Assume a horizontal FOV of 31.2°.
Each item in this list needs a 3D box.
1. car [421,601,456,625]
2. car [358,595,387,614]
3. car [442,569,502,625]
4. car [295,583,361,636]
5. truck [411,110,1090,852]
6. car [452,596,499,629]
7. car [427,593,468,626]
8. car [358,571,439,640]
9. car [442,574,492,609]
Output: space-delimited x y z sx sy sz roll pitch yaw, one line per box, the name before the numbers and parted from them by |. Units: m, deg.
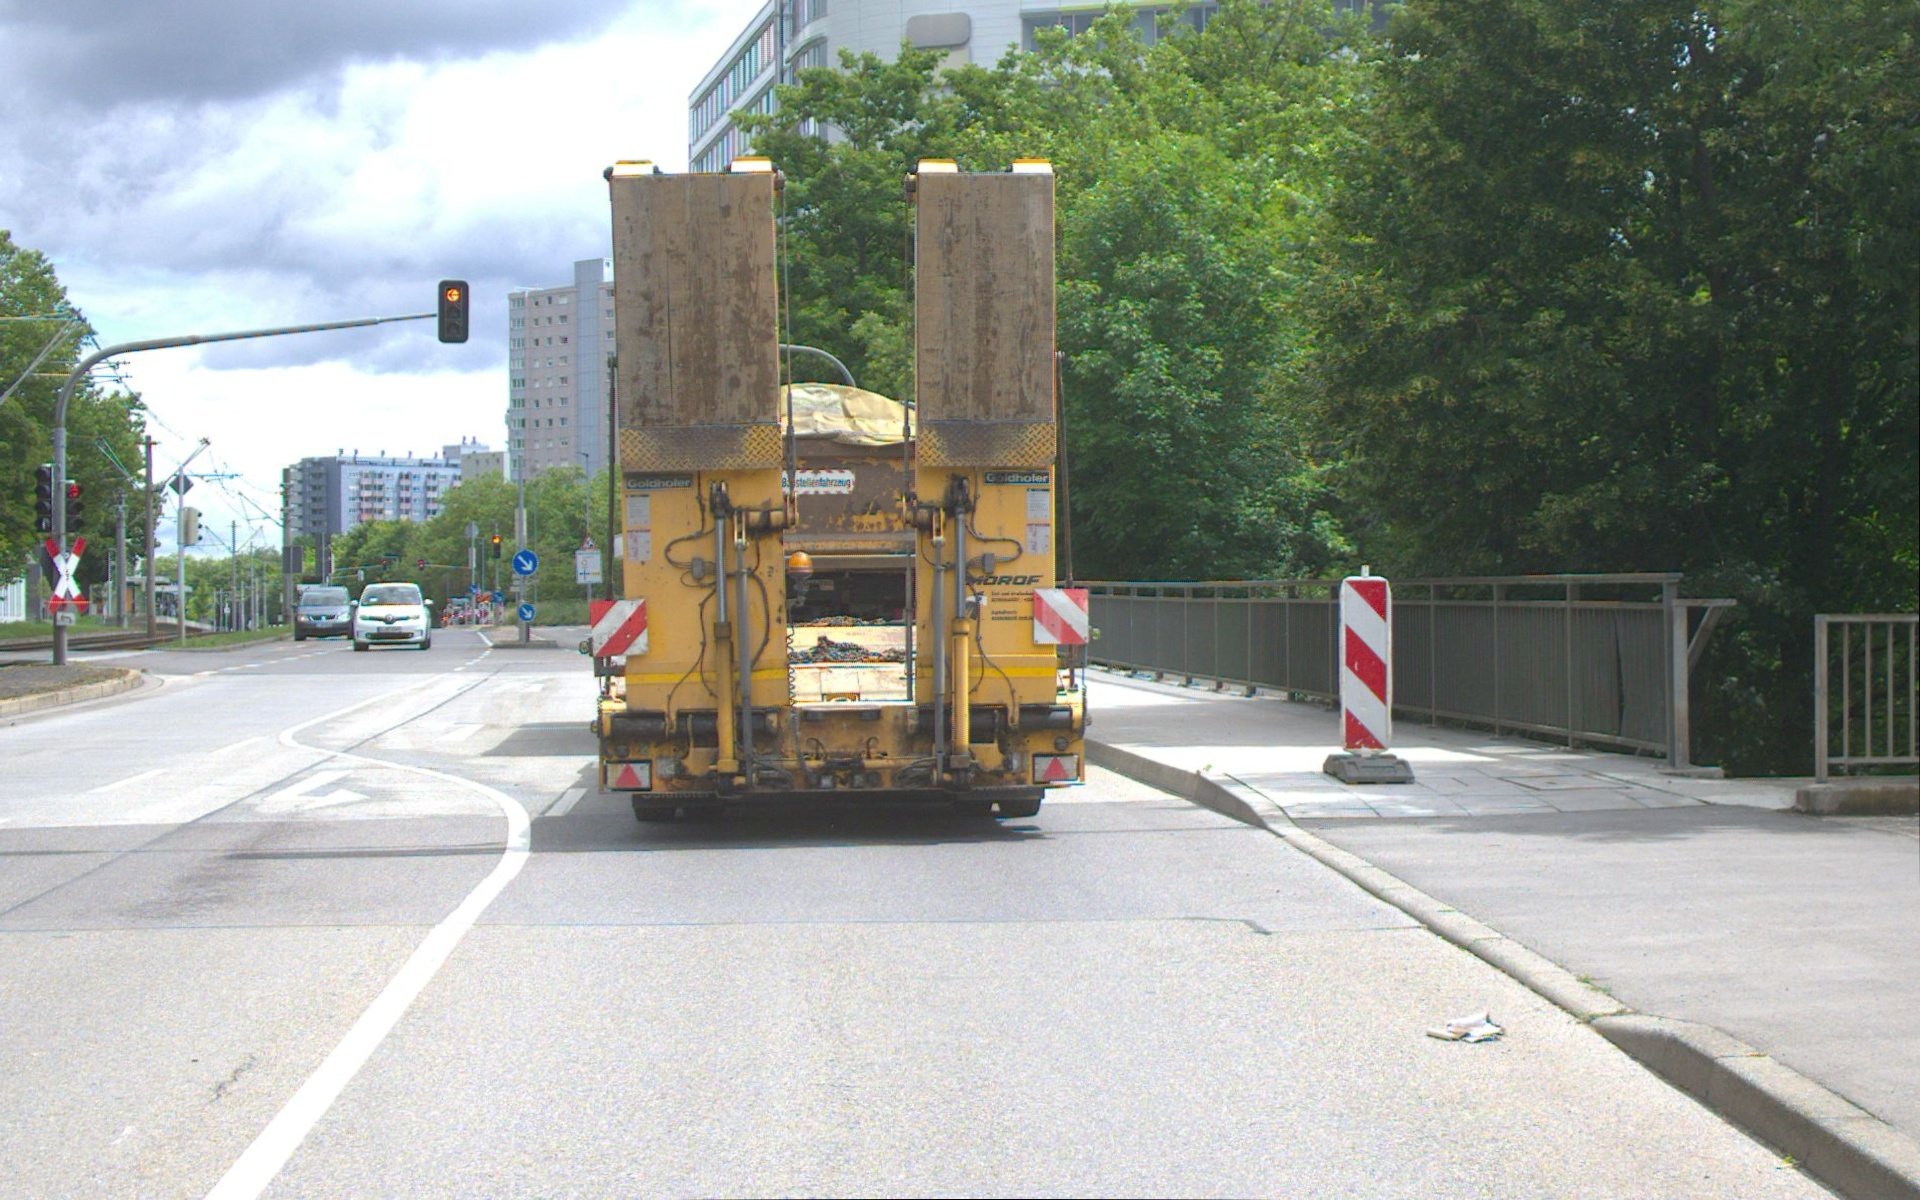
car | -27.789 0.687 183.267 1.783 1.267 4.346 0 0 -8
car | -39.035 0.291 228.423 1.783 1.267 4.346 0 0 -8
car | -17.291 -0.115 122.030 1.993 1.919 4.001 2 0 -7
car | -19.143 0.280 104.285 1.783 1.564 4.346 0 0 -8
truck | -1.241 -0.597 23.452 3.316 3.638 12.562 1 0 -2
car | -21.791 0.546 154.843 1.993 1.415 4.001 2 0 -7
car | -26.686 0.474 179.094 1.993 1.612 4.001 2 0 -7
car | -12.854 0.125 78.830 1.593 1.521 3.656 0 0 -5
car | -20.767 -0.356 144.894 1.993 1.415 4.001 2 0 -7
